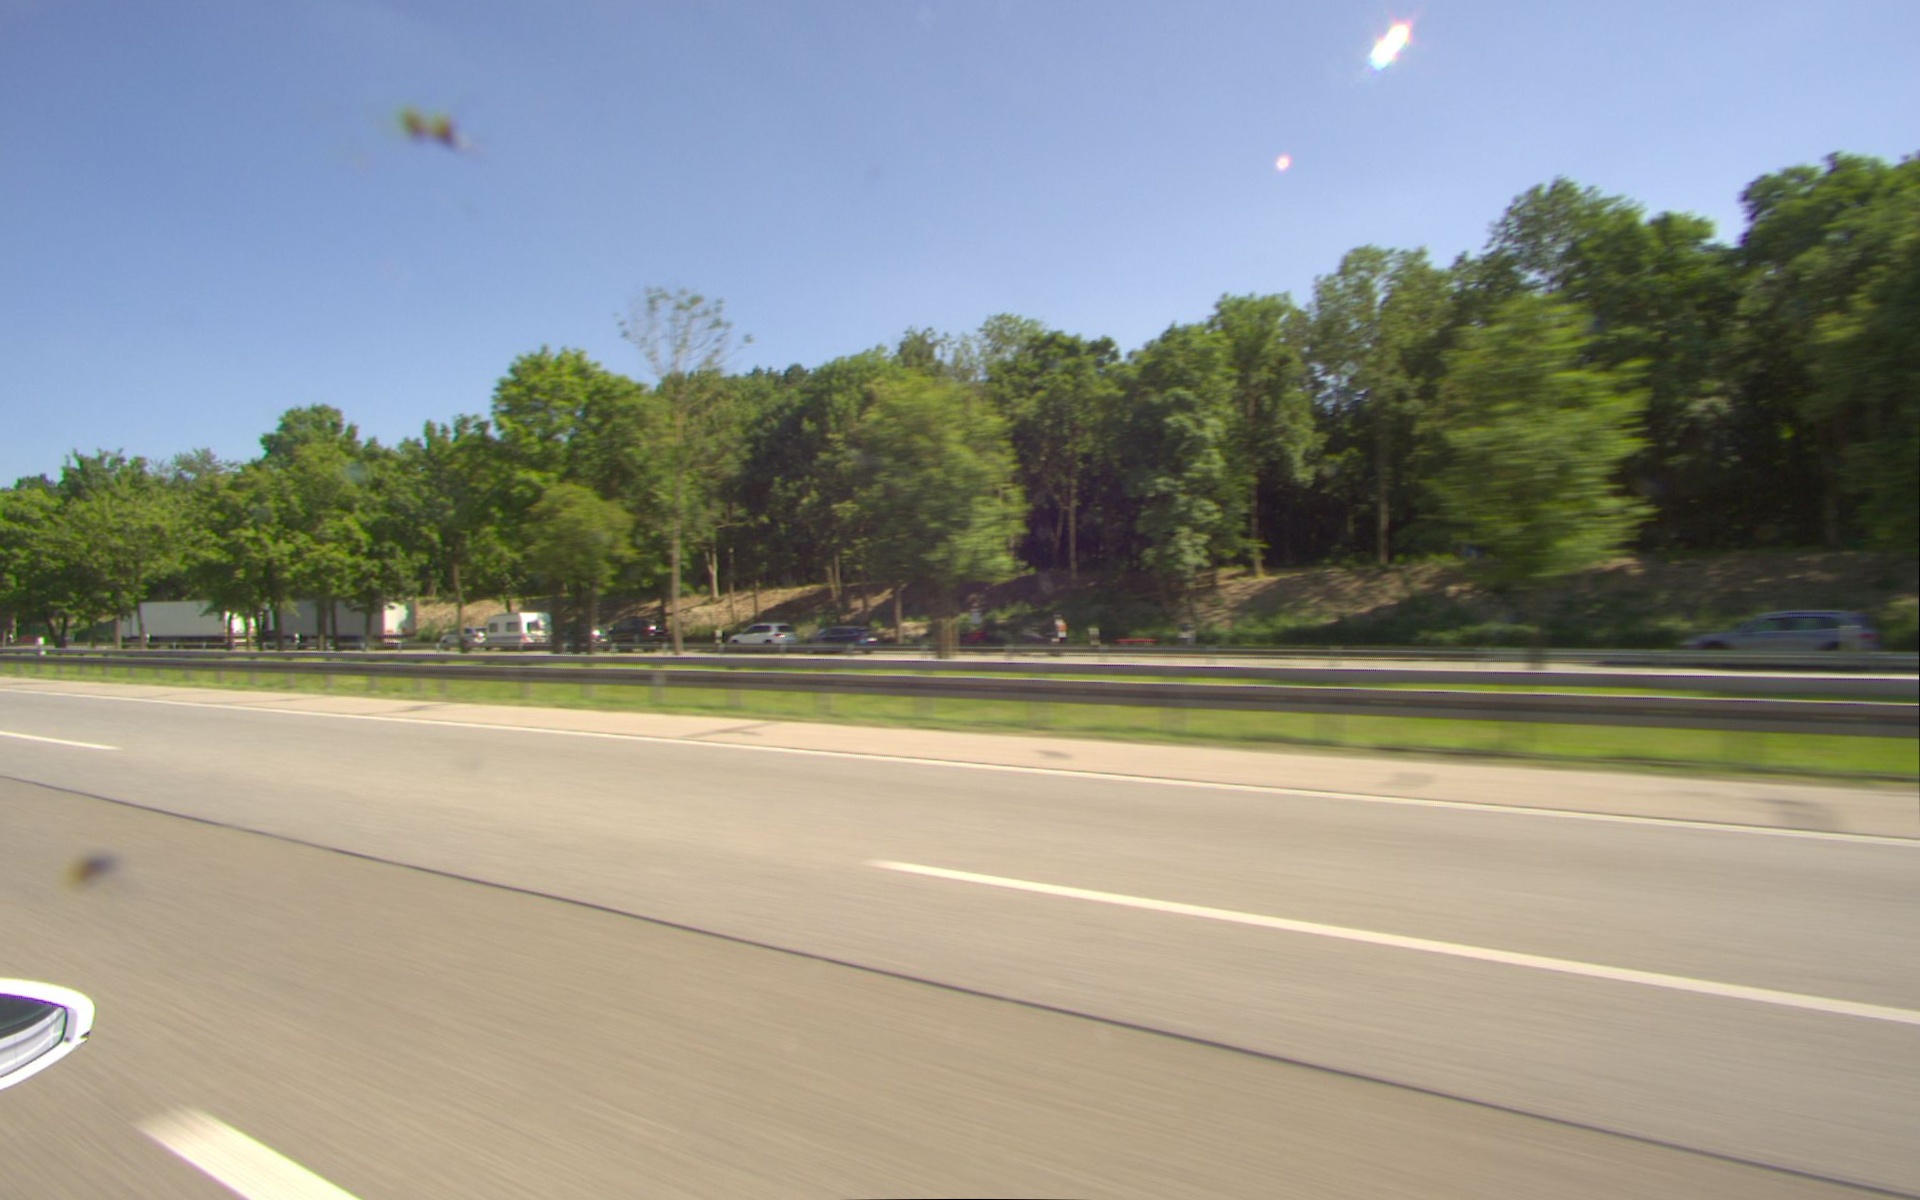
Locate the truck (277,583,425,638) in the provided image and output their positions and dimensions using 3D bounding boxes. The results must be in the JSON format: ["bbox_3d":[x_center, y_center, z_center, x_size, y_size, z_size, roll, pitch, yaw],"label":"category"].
[{"bbox_3d":[-47.619,0.919,78.094,14.235,3.982,2.994,-1,0,28],"label":"truck"}]

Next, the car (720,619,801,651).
[{"bbox_3d":[-11.162,1.956,55.832,4.587,1.697,1.652,-1,-1,34],"label":"car"}]

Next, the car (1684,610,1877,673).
[{"bbox_3d":[23.922,1.150,29.320,4.269,1.673,1.983,-1,0,42],"label":"car"}]

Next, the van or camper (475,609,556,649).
[{"bbox_3d":[-30.004,1.944,67.531,5.792,2.564,2.199,-1,-1,33],"label":"van or camper"}]

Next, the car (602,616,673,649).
[{"bbox_3d":[-19.535,1.974,60.487,4.738,1.902,1.650,-1,-1,37],"label":"car"}]

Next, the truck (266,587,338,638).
[{"bbox_3d":[-53.262,1.029,81.062,4.758,3.982,2.968,-1,0,28],"label":"truck"}]

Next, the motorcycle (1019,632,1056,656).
[{"bbox_3d":[3.547,1.985,45.730,1.652,1.044,0.556,-1,0,38],"label":"motorcycle"}]

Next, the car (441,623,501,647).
[{"bbox_3d":[-34.502,2.486,70.580,4.489,1.618,1.653,-1,-1,32],"label":"car"}]

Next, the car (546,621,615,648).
[{"bbox_3d":[-24.201,2.182,63.864,4.429,1.663,1.654,-1,-1,30],"label":"car"}]

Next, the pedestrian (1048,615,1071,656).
[{"bbox_3d":[4.374,1.552,44.187,0.793,1.806,0.636,-1,1,-45],"label":"pedestrian"}]

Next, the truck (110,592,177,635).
[{"bbox_3d":[-73.666,1.246,90.374,5.062,3.846,2.809,-1,-1,25],"label":"truck"}]

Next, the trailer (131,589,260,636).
[{"bbox_3d":[-66.565,1.161,87.030,13.958,3.846,2.858,-1,-1,25],"label":"trailer"}]

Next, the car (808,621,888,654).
[{"bbox_3d":[-5.856,1.929,52.133,3.954,1.594,1.984,-1,-1,41],"label":"car"}]
